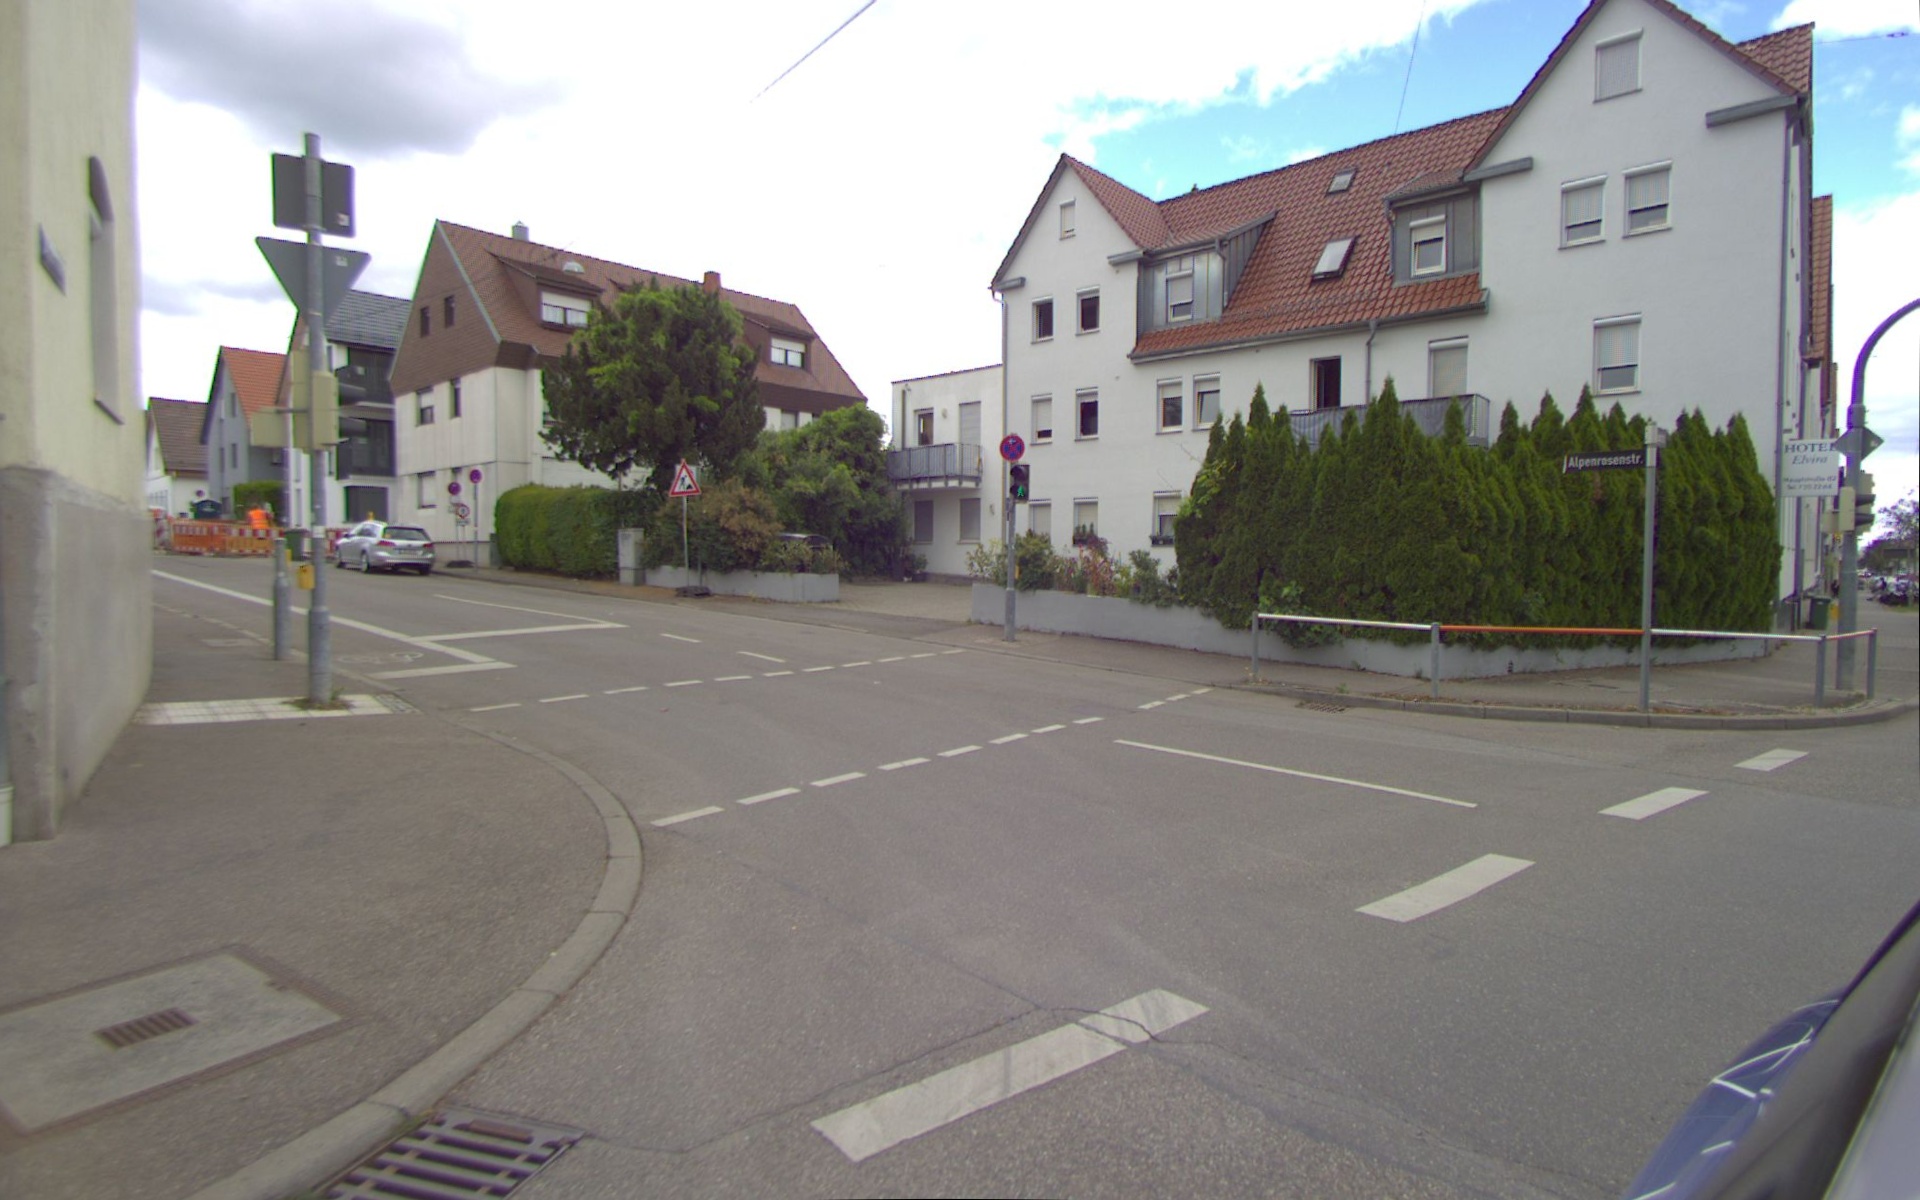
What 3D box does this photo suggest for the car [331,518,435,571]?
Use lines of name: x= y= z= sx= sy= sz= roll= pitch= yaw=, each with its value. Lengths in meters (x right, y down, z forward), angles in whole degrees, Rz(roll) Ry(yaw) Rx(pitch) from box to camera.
car: x=-16.787 y=-1.631 z=29.389 sx=1.699 sy=1.426 sz=3.991 roll=-1 pitch=4 yaw=-44

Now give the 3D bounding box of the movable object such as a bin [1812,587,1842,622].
movable object such as a bin: x=23.883 y=0.124 z=27.867 sx=0.564 sy=0.914 sz=0.511 roll=4 pitch=4 yaw=44

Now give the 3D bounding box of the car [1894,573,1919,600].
car: x=57.523 y=-0.821 z=60.892 sx=1.840 sy=1.538 sz=3.941 roll=0 pitch=2 yaw=41

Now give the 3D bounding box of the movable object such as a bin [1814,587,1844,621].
movable object such as a bin: x=24.325 y=0.100 z=28.331 sx=0.564 sy=0.914 sz=0.511 roll=4 pitch=4 yaw=44

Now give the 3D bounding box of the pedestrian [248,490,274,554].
pedestrian: x=-24.539 y=-2.738 z=35.522 sx=0.673 sy=2.197 sz=0.591 roll=4 pitch=3 yaw=41

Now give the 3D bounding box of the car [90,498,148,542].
car: x=-43.720 y=-4.108 z=52.569 sx=1.968 sy=2.038 sz=3.989 roll=-2 pitch=2 yaw=-45

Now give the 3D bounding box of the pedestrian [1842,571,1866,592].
pedestrian: x=58.108 y=-1.209 z=65.800 sx=0.654 sy=1.295 sz=0.984 roll=0 pitch=3 yaw=-34

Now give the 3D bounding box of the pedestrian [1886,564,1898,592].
pedestrian: x=59.633 y=-1.393 z=64.726 sx=0.496 sy=1.775 sz=0.444 roll=3 pitch=3 yaw=44

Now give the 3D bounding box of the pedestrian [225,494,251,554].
pedestrian: x=-25.007 y=-2.634 z=35.040 sx=0.673 sy=2.038 sz=0.591 roll=4 pitch=3 yaw=41
